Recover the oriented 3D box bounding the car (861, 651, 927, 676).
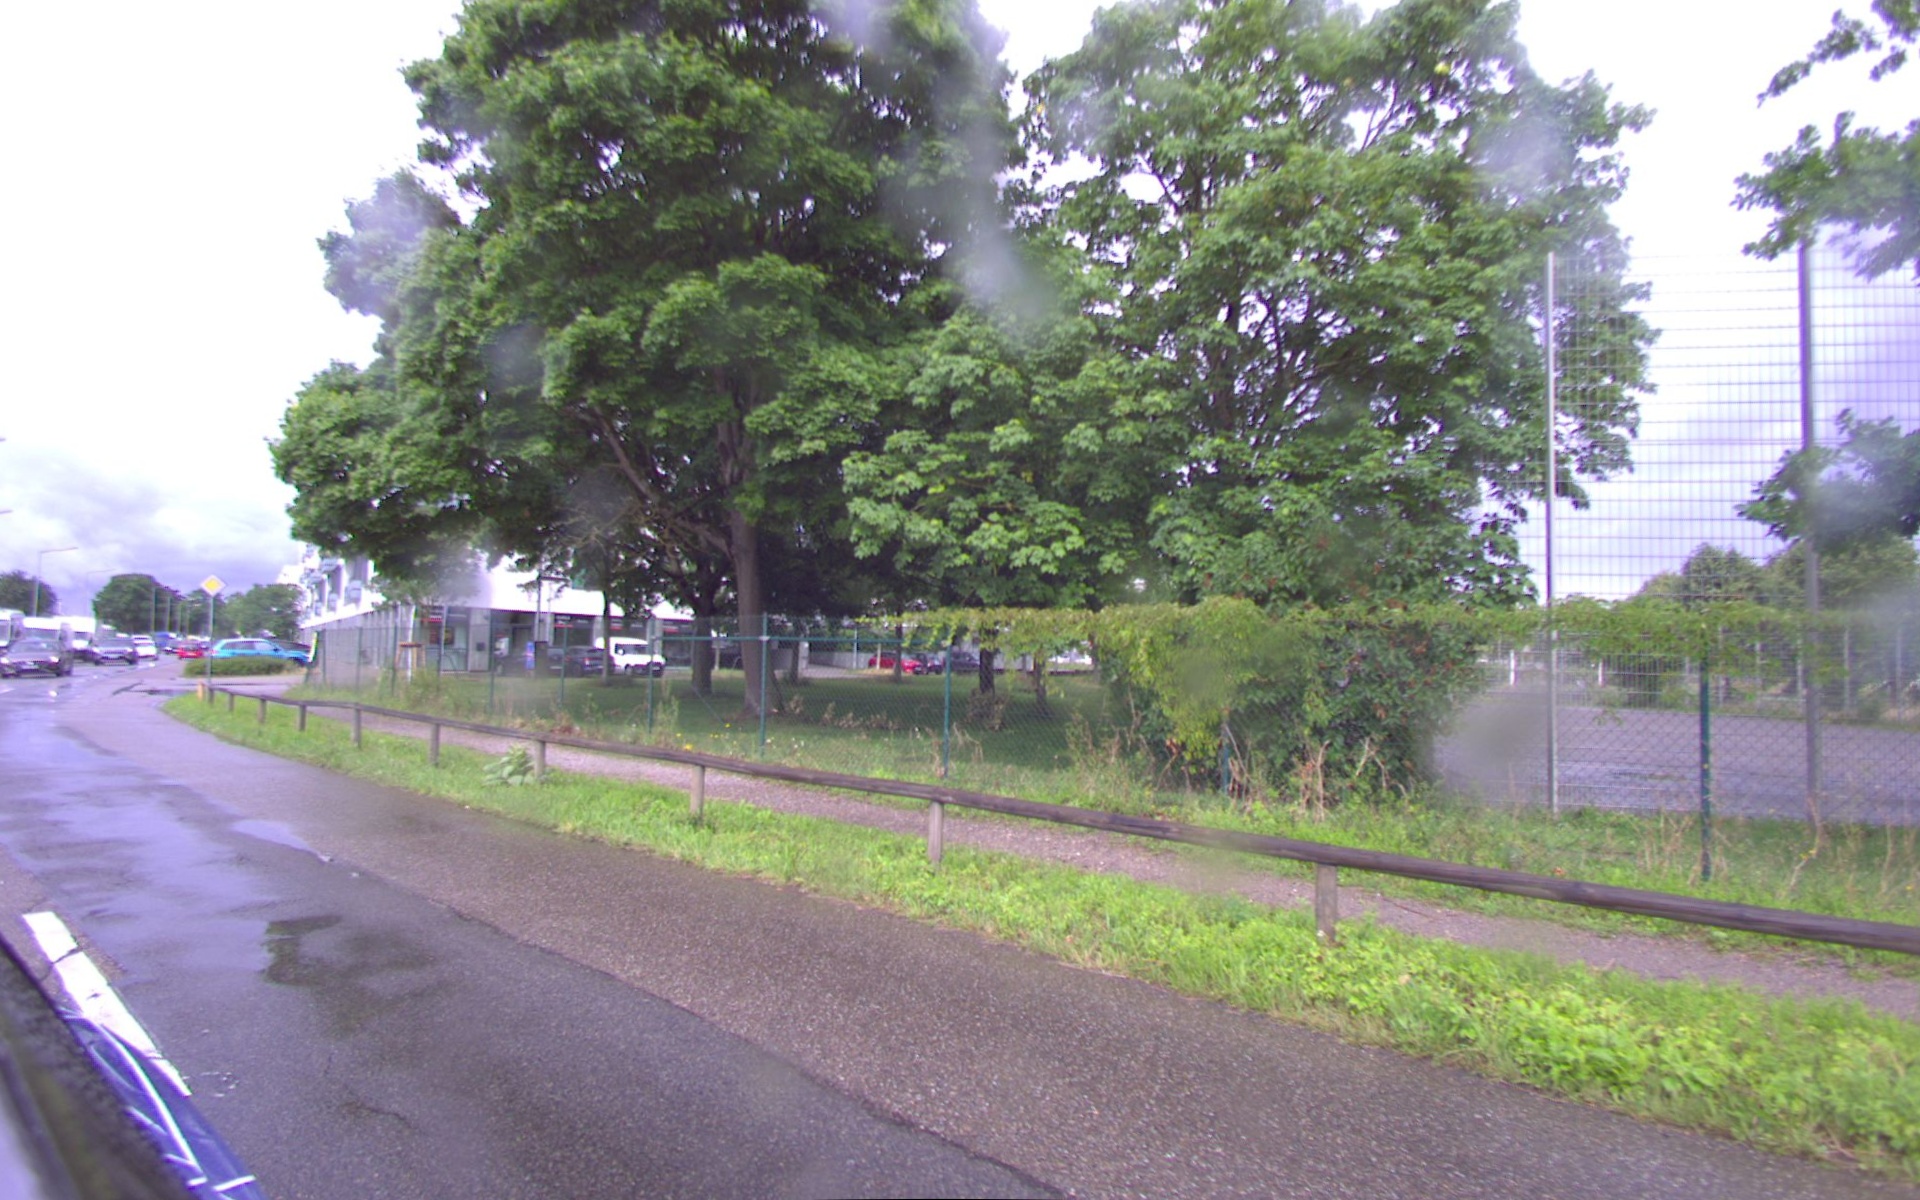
[{"bbox_3d":[-4.269,4.017,64.760,4.178,1.407,1.623,0,-2,37],"label":"car"}]

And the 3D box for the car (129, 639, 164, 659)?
[{"bbox_3d":[-62.637,3.765,77.954,1.813,1.531,4.367,4,-4,-36],"label":"car"}]

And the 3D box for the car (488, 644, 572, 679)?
[{"bbox_3d":[-19.316,2.719,45.400,4.181,1.407,1.623,0,-2,37],"label":"car"}]

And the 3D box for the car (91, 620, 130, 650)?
[{"bbox_3d":[-68.667,2.855,81.862,1.967,2.259,4.574,4,-4,-35],"label":"car"}]

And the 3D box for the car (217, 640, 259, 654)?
[{"bbox_3d":[-80.456,5.246,112.815,3.739,1.381,1.748,0,-2,-36],"label":"car"}]

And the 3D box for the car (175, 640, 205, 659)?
[{"bbox_3d":[-62.526,4.016,82.199,1.634,1.479,3.398,3,-4,-32],"label":"car"}]

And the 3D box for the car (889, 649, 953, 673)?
[{"bbox_3d":[-2.640,4.036,67.256,4.178,1.407,1.623,0,-2,37],"label":"car"}]

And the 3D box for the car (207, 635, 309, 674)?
[{"bbox_3d":[-31.902,2.447,46.113,3.758,1.646,1.760,0,-2,-33],"label":"car"}]

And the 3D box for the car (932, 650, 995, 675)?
[{"bbox_3d":[0.226,4.273,69.873,4.178,1.547,1.623,0,-2,37],"label":"car"}]

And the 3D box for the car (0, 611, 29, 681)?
[{"bbox_3d":[-42.749,1.925,44.293,2.116,2.905,5.287,7,-6,-37],"label":"car"}]

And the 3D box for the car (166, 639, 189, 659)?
[{"bbox_3d":[-85.079,5.318,110.045,1.968,2.029,4.008,0,-2,-37],"label":"car"}]

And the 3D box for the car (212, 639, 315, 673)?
[{"bbox_3d":[-34.496,2.740,50.170,4.117,1.561,1.864,0,-2,-36],"label":"car"}]

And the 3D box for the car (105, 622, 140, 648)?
[{"bbox_3d":[-76.286,3.228,92.246,1.967,2.259,4.574,4,-4,-35],"label":"car"}]

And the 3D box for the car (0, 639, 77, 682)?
[{"bbox_3d":[-35.200,2.301,38.639,1.844,1.531,4.367,2,-4,-36],"label":"car"}]

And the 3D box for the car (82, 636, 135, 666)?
[{"bbox_3d":[-51.099,3.066,60.787,1.978,1.718,4.340,3,-4,-35],"label":"car"}]

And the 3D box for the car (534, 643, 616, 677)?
[{"bbox_3d":[-17.939,2.755,47.109,4.122,1.407,1.667,0,-2,37],"label":"car"}]

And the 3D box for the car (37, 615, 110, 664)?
[{"bbox_3d":[-58.446,2.626,66.867,2.437,2.978,6.905,5,-5,-33],"label":"car"}]

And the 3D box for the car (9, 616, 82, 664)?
[{"bbox_3d":[-53.063,2.396,58.876,2.040,2.548,6.674,5,-5,-34],"label":"car"}]

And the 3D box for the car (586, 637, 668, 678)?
[{"bbox_3d":[-16.151,2.735,48.992,4.343,1.849,1.623,-1,-2,37],"label":"car"}]
